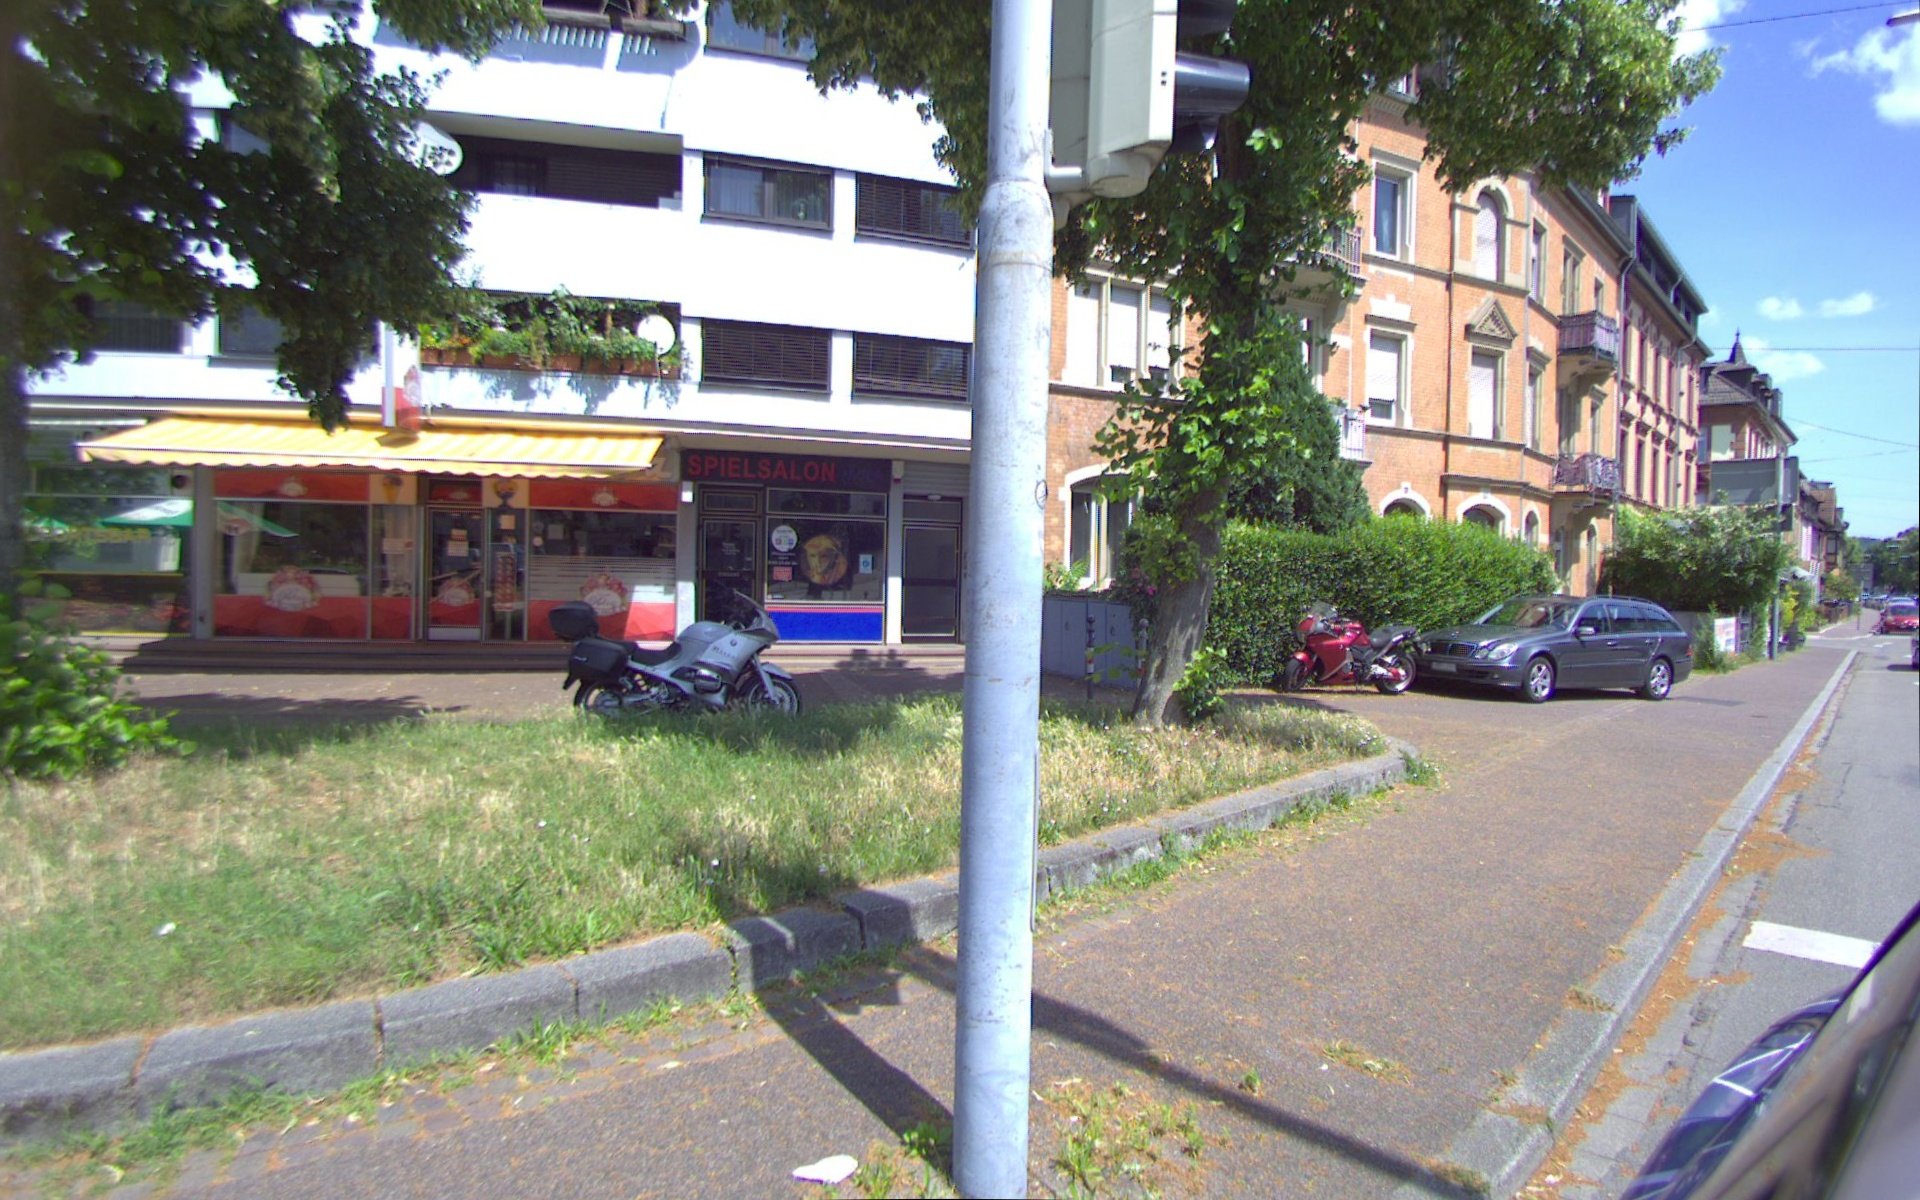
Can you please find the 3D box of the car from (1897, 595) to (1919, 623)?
[{"bbox_3d":[55.989,0.529,59.112,1.757,1.571,4.001,-1,-1,44],"label":"car"}]

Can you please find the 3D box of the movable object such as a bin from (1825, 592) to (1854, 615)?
[{"bbox_3d":[55.898,0.237,64.291,1.283,1.413,1.342,2,2,44],"label":"movable object such as a bin"}]

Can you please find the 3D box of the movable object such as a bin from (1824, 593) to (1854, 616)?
[{"bbox_3d":[54.955,0.271,63.263,1.283,1.413,1.390,2,2,44],"label":"movable object such as a bin"}]

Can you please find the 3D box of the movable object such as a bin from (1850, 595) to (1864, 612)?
[{"bbox_3d":[66.852,0.271,75.389,0.751,1.257,0.864,2,1,42],"label":"movable object such as a bin"}]

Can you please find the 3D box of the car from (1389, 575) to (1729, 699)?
[{"bbox_3d":[8.920,0.529,14.986,5.050,1.568,1.843,2,1,-27],"label":"car"}]

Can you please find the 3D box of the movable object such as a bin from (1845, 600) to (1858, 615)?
[{"bbox_3d":[59.068,0.490,67.045,0.624,0.940,0.602,2,2,43],"label":"movable object such as a bin"}]

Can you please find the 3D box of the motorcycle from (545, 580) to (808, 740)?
[{"bbox_3d":[-2.540,0.498,9.170,2.178,1.329,0.920,0,0,-17],"label":"motorcycle"}]

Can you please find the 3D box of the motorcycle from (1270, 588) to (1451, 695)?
[{"bbox_3d":[5.358,0.547,13.528,2.233,1.319,0.935,2,1,-25],"label":"motorcycle"}]

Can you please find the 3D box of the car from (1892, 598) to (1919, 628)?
[{"bbox_3d":[48.812,0.640,51.533,1.755,1.497,3.728,-1,0,40],"label":"car"}]
